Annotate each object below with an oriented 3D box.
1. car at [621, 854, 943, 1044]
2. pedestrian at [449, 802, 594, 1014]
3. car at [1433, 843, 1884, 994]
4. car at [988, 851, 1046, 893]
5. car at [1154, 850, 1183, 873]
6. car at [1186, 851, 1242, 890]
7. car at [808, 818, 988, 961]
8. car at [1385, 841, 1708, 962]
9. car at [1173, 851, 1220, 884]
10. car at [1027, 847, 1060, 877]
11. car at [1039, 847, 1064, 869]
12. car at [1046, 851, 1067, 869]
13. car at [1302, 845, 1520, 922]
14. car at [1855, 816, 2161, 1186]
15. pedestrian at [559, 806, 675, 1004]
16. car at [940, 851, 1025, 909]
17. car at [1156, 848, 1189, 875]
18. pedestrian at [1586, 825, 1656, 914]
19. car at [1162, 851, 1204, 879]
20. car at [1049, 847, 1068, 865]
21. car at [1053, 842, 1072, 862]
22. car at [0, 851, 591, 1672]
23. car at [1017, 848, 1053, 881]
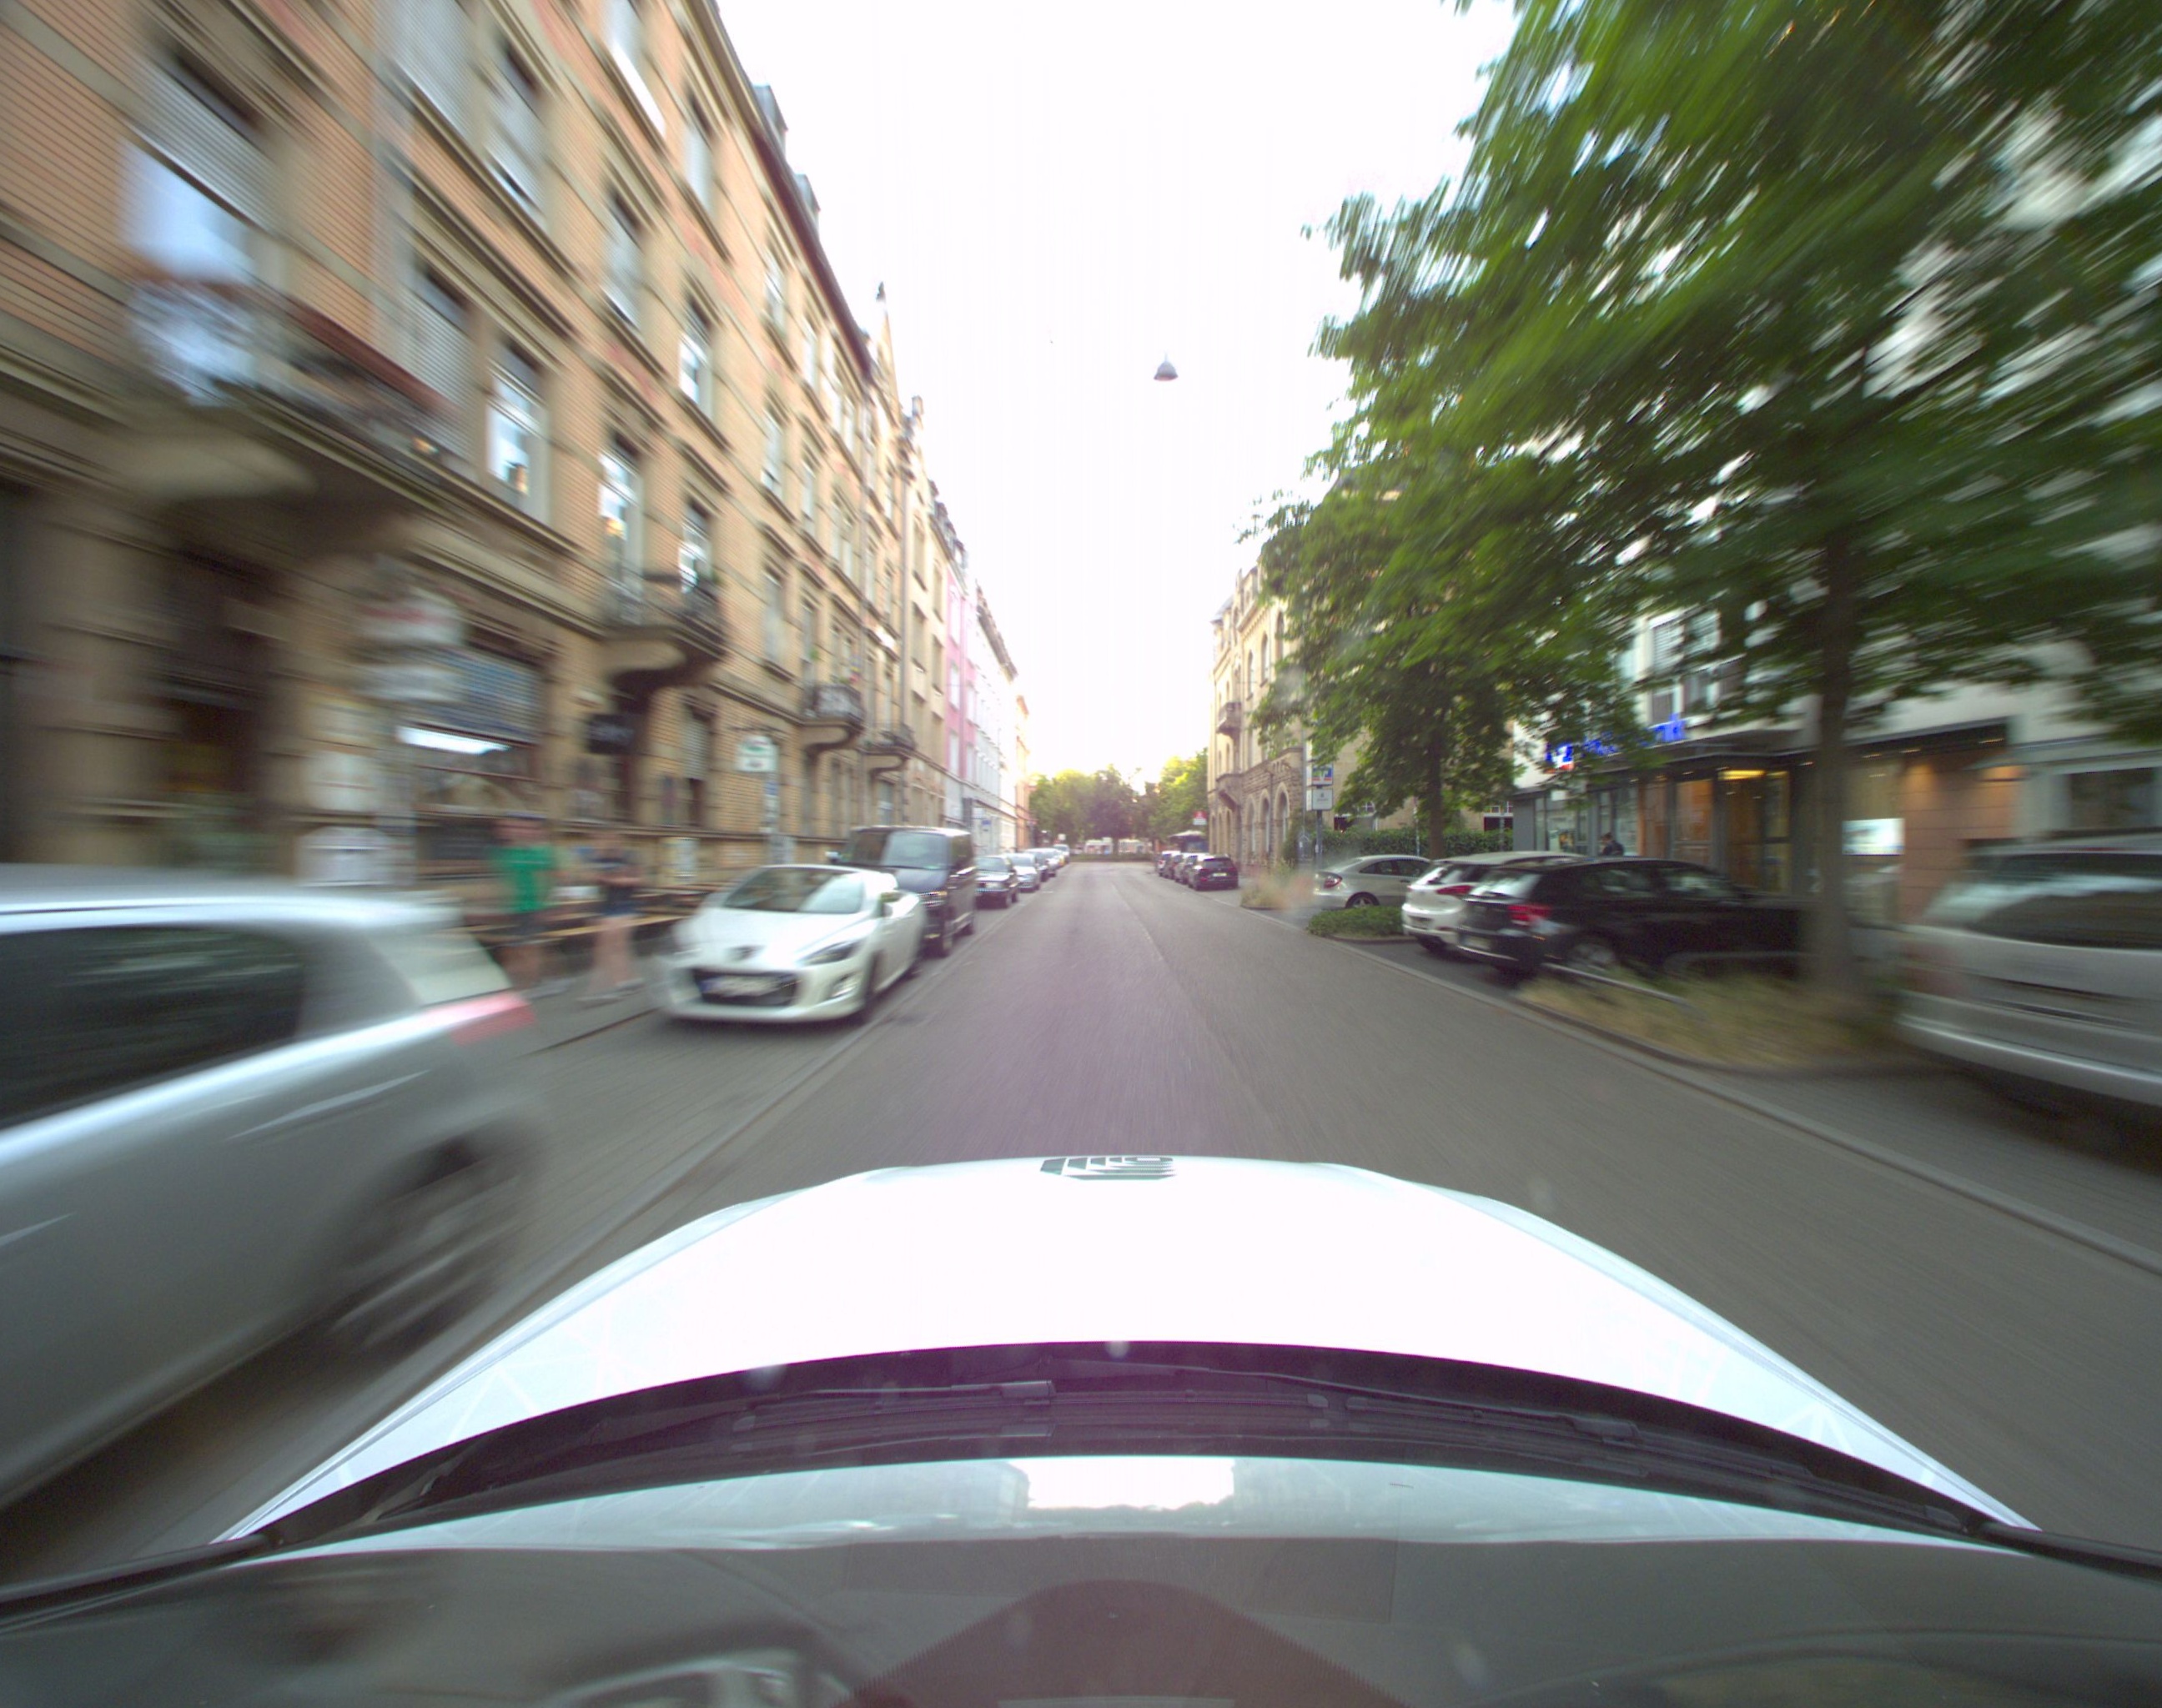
[{"bbox_3d":[-2.749,0.760,8.705,1.778,1.422,4.483,2,0,-1],"label":"car"},{"bbox_3d":[-5.026,0.451,7.376,0.578,1.771,0.996,3,1,-3],"label":"pedestrian"},{"bbox_3d":[6.467,0.660,9.445,3.976,1.456,1.827,-2,0,-2],"label":"car"},{"bbox_3d":[-2.473,0.664,32.351,1.828,1.458,4.207,3,0,1],"label":"car"},{"bbox_3d":[6.056,0.497,56.706,1.669,1.501,4.020,-3,0,2],"label":"car"},{"bbox_3d":[5.512,0.645,34.201,1.670,1.429,4.480,-4,0,2],"label":"car"},{"bbox_3d":[-2.833,0.486,13.841,1.988,1.923,4.948,2,0,-2],"label":"car"},{"bbox_3d":[6.710,0.627,11.983,3.786,1.452,1.733,-3,0,-5],"label":"car"},{"bbox_3d":[5.632,0.612,40.062,1.671,1.456,4.229,-3,0,0],"label":"car"},{"bbox_3d":[-2.175,0.455,47.980,1.840,1.659,4.249,0,0,-2],"label":"car"},{"bbox_3d":[-2.282,0.294,64.176,1.693,1.621,4.022,2,0,0],"label":"car"},{"bbox_3d":[-2.134,0.494,70.431,1.694,1.426,4.019,2,0,-2],"label":"car"},{"bbox_3d":[7.194,0.617,18.098,4.069,1.452,1.884,-3,0,3],"label":"car"},{"bbox_3d":[7.021,0.586,4.200,4.384,1.647,1.746,-2,0,0],"label":"car"},{"bbox_3d":[-4.411,0.458,7.792,0.604,1.772,0.776,3,1,-3],"label":"pedestrian"},{"bbox_3d":[-2.655,0.675,23.046,1.731,1.418,4.778,2,0,0],"label":"car"},{"bbox_3d":[5.665,0.440,50.717,1.669,1.501,3.903,-3,0,2],"label":"car"},{"bbox_3d":[10.843,0.298,16.378,0.725,1.716,0.963,-2,0,1],"label":"pedestrian"},{"bbox_3d":[5.705,0.595,45.811,1.672,1.456,3.796,-3,0,-3],"label":"car"},{"bbox_3d":[-2.082,0.198,76.364,1.694,1.552,4.019,2,0,-2],"label":"car"},{"bbox_3d":[-1.938,-0.237,84.513,1.807,1.977,4.181,2,0,-3],"label":"car"},{"bbox_3d":[-2.846,0.761,1.163,1.710,1.457,4.002,2,1,2],"label":"car"},{"bbox_3d":[-2.319,0.512,41.937,1.631,1.565,3.781,1,0,0],"label":"car"}]
